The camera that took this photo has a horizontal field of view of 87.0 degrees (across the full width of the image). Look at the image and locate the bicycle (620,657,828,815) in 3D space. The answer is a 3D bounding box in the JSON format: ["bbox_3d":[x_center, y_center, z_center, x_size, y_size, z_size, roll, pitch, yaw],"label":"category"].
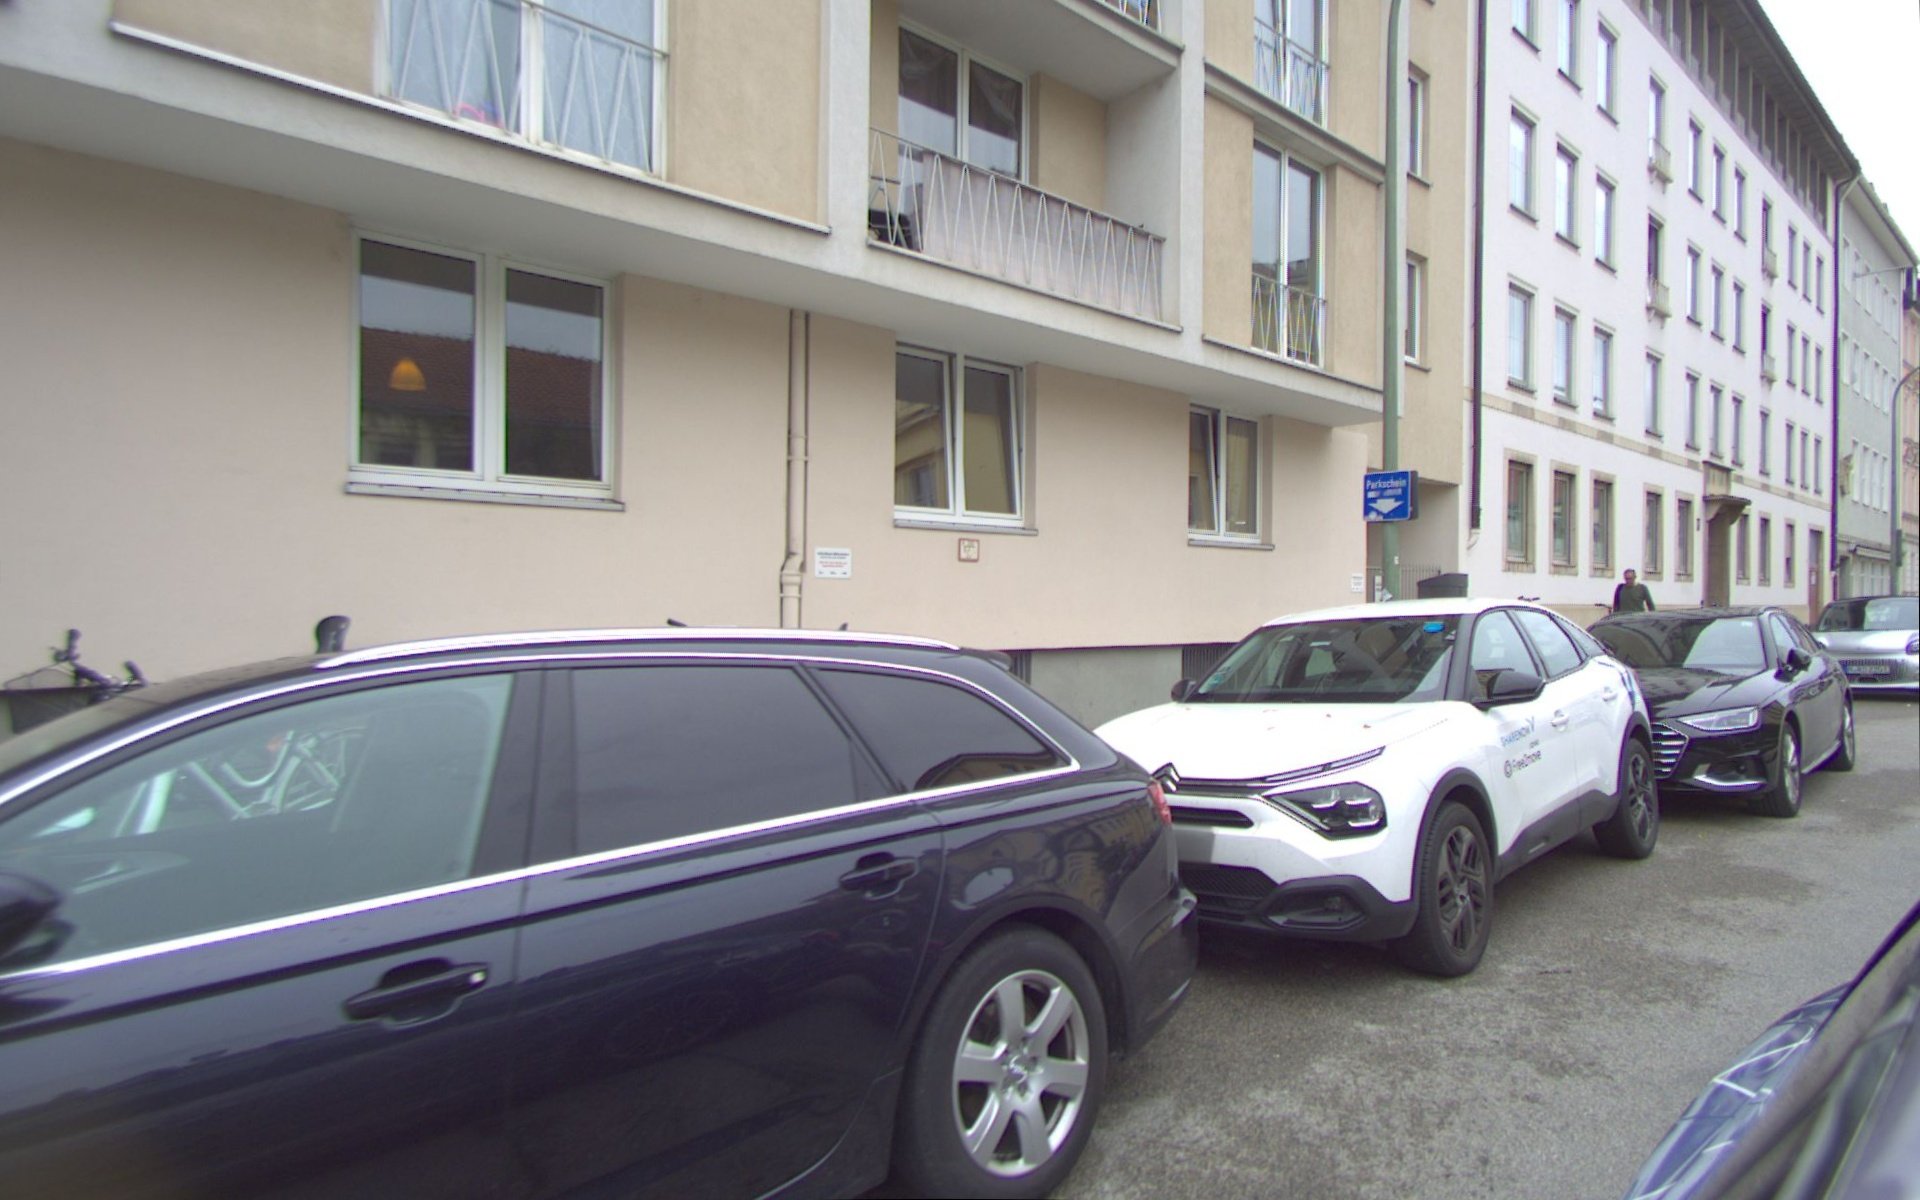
[{"bbox_3d":[-1.587,0.887,6.938,1.367,0.916,0.379,0,0,-39],"label":"bicycle"}]

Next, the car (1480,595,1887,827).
[{"bbox_3d":[6.235,0.685,8.450,4.869,1.406,1.747,0,-1,-42],"label":"car"}]

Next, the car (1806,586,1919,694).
[{"bbox_3d":[14.274,0.568,15.371,2.829,1.514,1.653,0,-2,-40],"label":"car"}]

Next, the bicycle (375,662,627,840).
[{"bbox_3d":[-2.791,0.879,6.237,1.367,0.916,0.379,0,0,-39],"label":"bicycle"}]

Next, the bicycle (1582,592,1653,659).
[{"bbox_3d":[12.611,0.458,19.385,2.065,1.233,0.531,0,0,-39],"label":"bicycle"}]

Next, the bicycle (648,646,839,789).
[{"bbox_3d":[-1.581,0.829,7.509,1.367,0.916,0.379,0,0,-39],"label":"bicycle"}]

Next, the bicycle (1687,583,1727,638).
[{"bbox_3d":[17.587,0.229,23.808,0.512,1.237,1.957,1,0,43],"label":"bicycle"}]

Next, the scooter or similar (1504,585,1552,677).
[{"bbox_3d":[9.318,0.475,16.589,0.438,1.375,1.569,0,2,38],"label":"scooter or similar"}]

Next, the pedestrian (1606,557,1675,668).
[{"bbox_3d":[11.420,0.194,16.979,0.889,1.785,0.724,-3,2,-39],"label":"pedestrian"}]

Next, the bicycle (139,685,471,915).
[{"bbox_3d":[-3.249,0.941,5.095,1.367,0.916,0.379,0,1,-39],"label":"bicycle"}]

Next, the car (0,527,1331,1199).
[{"bbox_3d":[-1.388,0.720,2.296,5.072,1.542,1.882,0,-3,-40],"label":"car"}]

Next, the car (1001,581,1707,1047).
[{"bbox_3d":[2.421,0.703,5.447,4.502,1.508,1.696,0,-1,-42],"label":"car"}]
